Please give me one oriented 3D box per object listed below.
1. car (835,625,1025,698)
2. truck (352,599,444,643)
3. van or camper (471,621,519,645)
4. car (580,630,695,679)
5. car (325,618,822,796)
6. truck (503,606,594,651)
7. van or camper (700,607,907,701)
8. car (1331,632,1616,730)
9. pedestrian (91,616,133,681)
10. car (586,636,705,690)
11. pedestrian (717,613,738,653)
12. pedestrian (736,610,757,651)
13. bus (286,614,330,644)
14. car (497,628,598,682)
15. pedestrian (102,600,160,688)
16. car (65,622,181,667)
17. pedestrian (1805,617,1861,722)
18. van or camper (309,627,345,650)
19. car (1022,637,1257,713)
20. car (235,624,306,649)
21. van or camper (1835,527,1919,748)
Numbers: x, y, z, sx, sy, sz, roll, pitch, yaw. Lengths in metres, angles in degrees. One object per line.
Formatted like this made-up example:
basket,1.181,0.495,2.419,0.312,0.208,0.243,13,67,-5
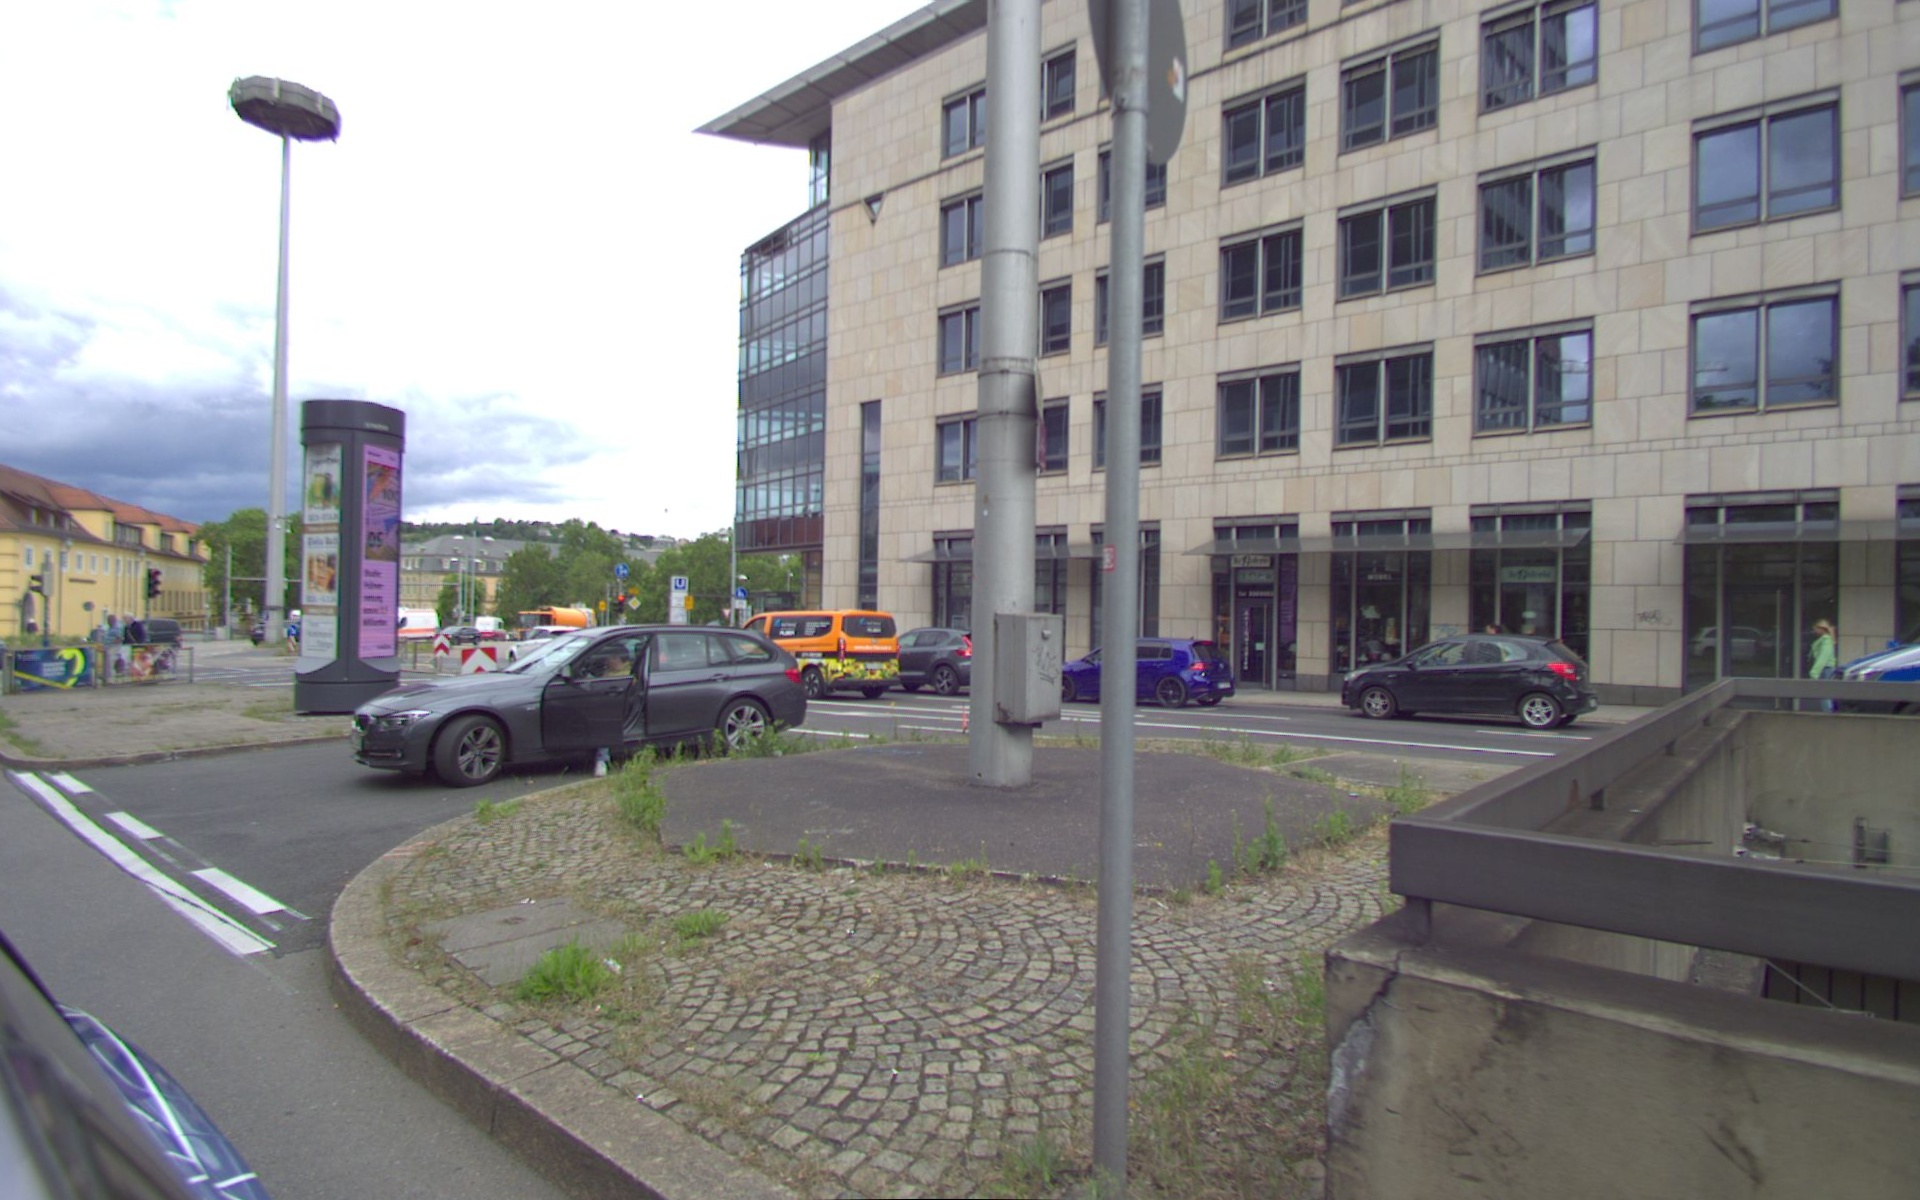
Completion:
car,-0.825,1.483,25.311,4.681,1.658,1.972,-2,-4,41
truck,-36.983,1.442,66.779,1.936,2.805,5.766,0,-2,12
van or camper,-49.246,3.466,107.339,2.118,2.496,6.156,0,-2,2
car,-10.953,1.796,34.239,4.091,1.537,1.972,-2,-3,43
car,-3.857,0.940,10.585,4.494,1.469,1.884,1,-2,-41
truck,-36.599,2.512,90.464,2.702,3.643,9.137,-3,-2,14
van or camper,-3.697,1.199,23.277,5.081,1.936,1.893,-2,-4,41
car,8.654,1.305,17.243,4.029,1.460,1.750,-1,-4,42
pedestrian,-24.140,1.380,28.798,0.634,1.804,0.708,-3,-7,41
car,-8.752,1.698,28.032,3.632,1.390,1.539,-2,-4,43
pedestrian,-9.647,1.360,41.923,0.643,1.625,0.969,1,1,-25
pedestrian,-8.931,1.285,42.372,0.595,1.643,0.789,-3,3,-28
bus,-74.310,3.325,115.527,3.376,3.228,13.103,1,-2,-29
car,-13.339,1.723,32.613,1.713,1.611,4.325,2,-2,-41
pedestrian,-21.237,1.120,25.937,0.758,2.189,0.872,-1,-2,23
car,-40.169,2.095,48.715,1.833,2.003,4.644,2,-2,-3
pedestrian,13.901,1.093,16.128,0.627,1.636,0.494,-2,-2,41
van or camper,-66.314,4.029,106.054,2.334,2.280,6.308,2,-3,-24
car,3.698,1.501,21.387,4.572,1.406,1.972,-2,-2,43
car,-46.066,2.422,67.611,3.750,1.588,2.003,2,-2,-40
van or camper,14.679,0.439,12.148,6.244,2.747,2.970,-2,-2,42
